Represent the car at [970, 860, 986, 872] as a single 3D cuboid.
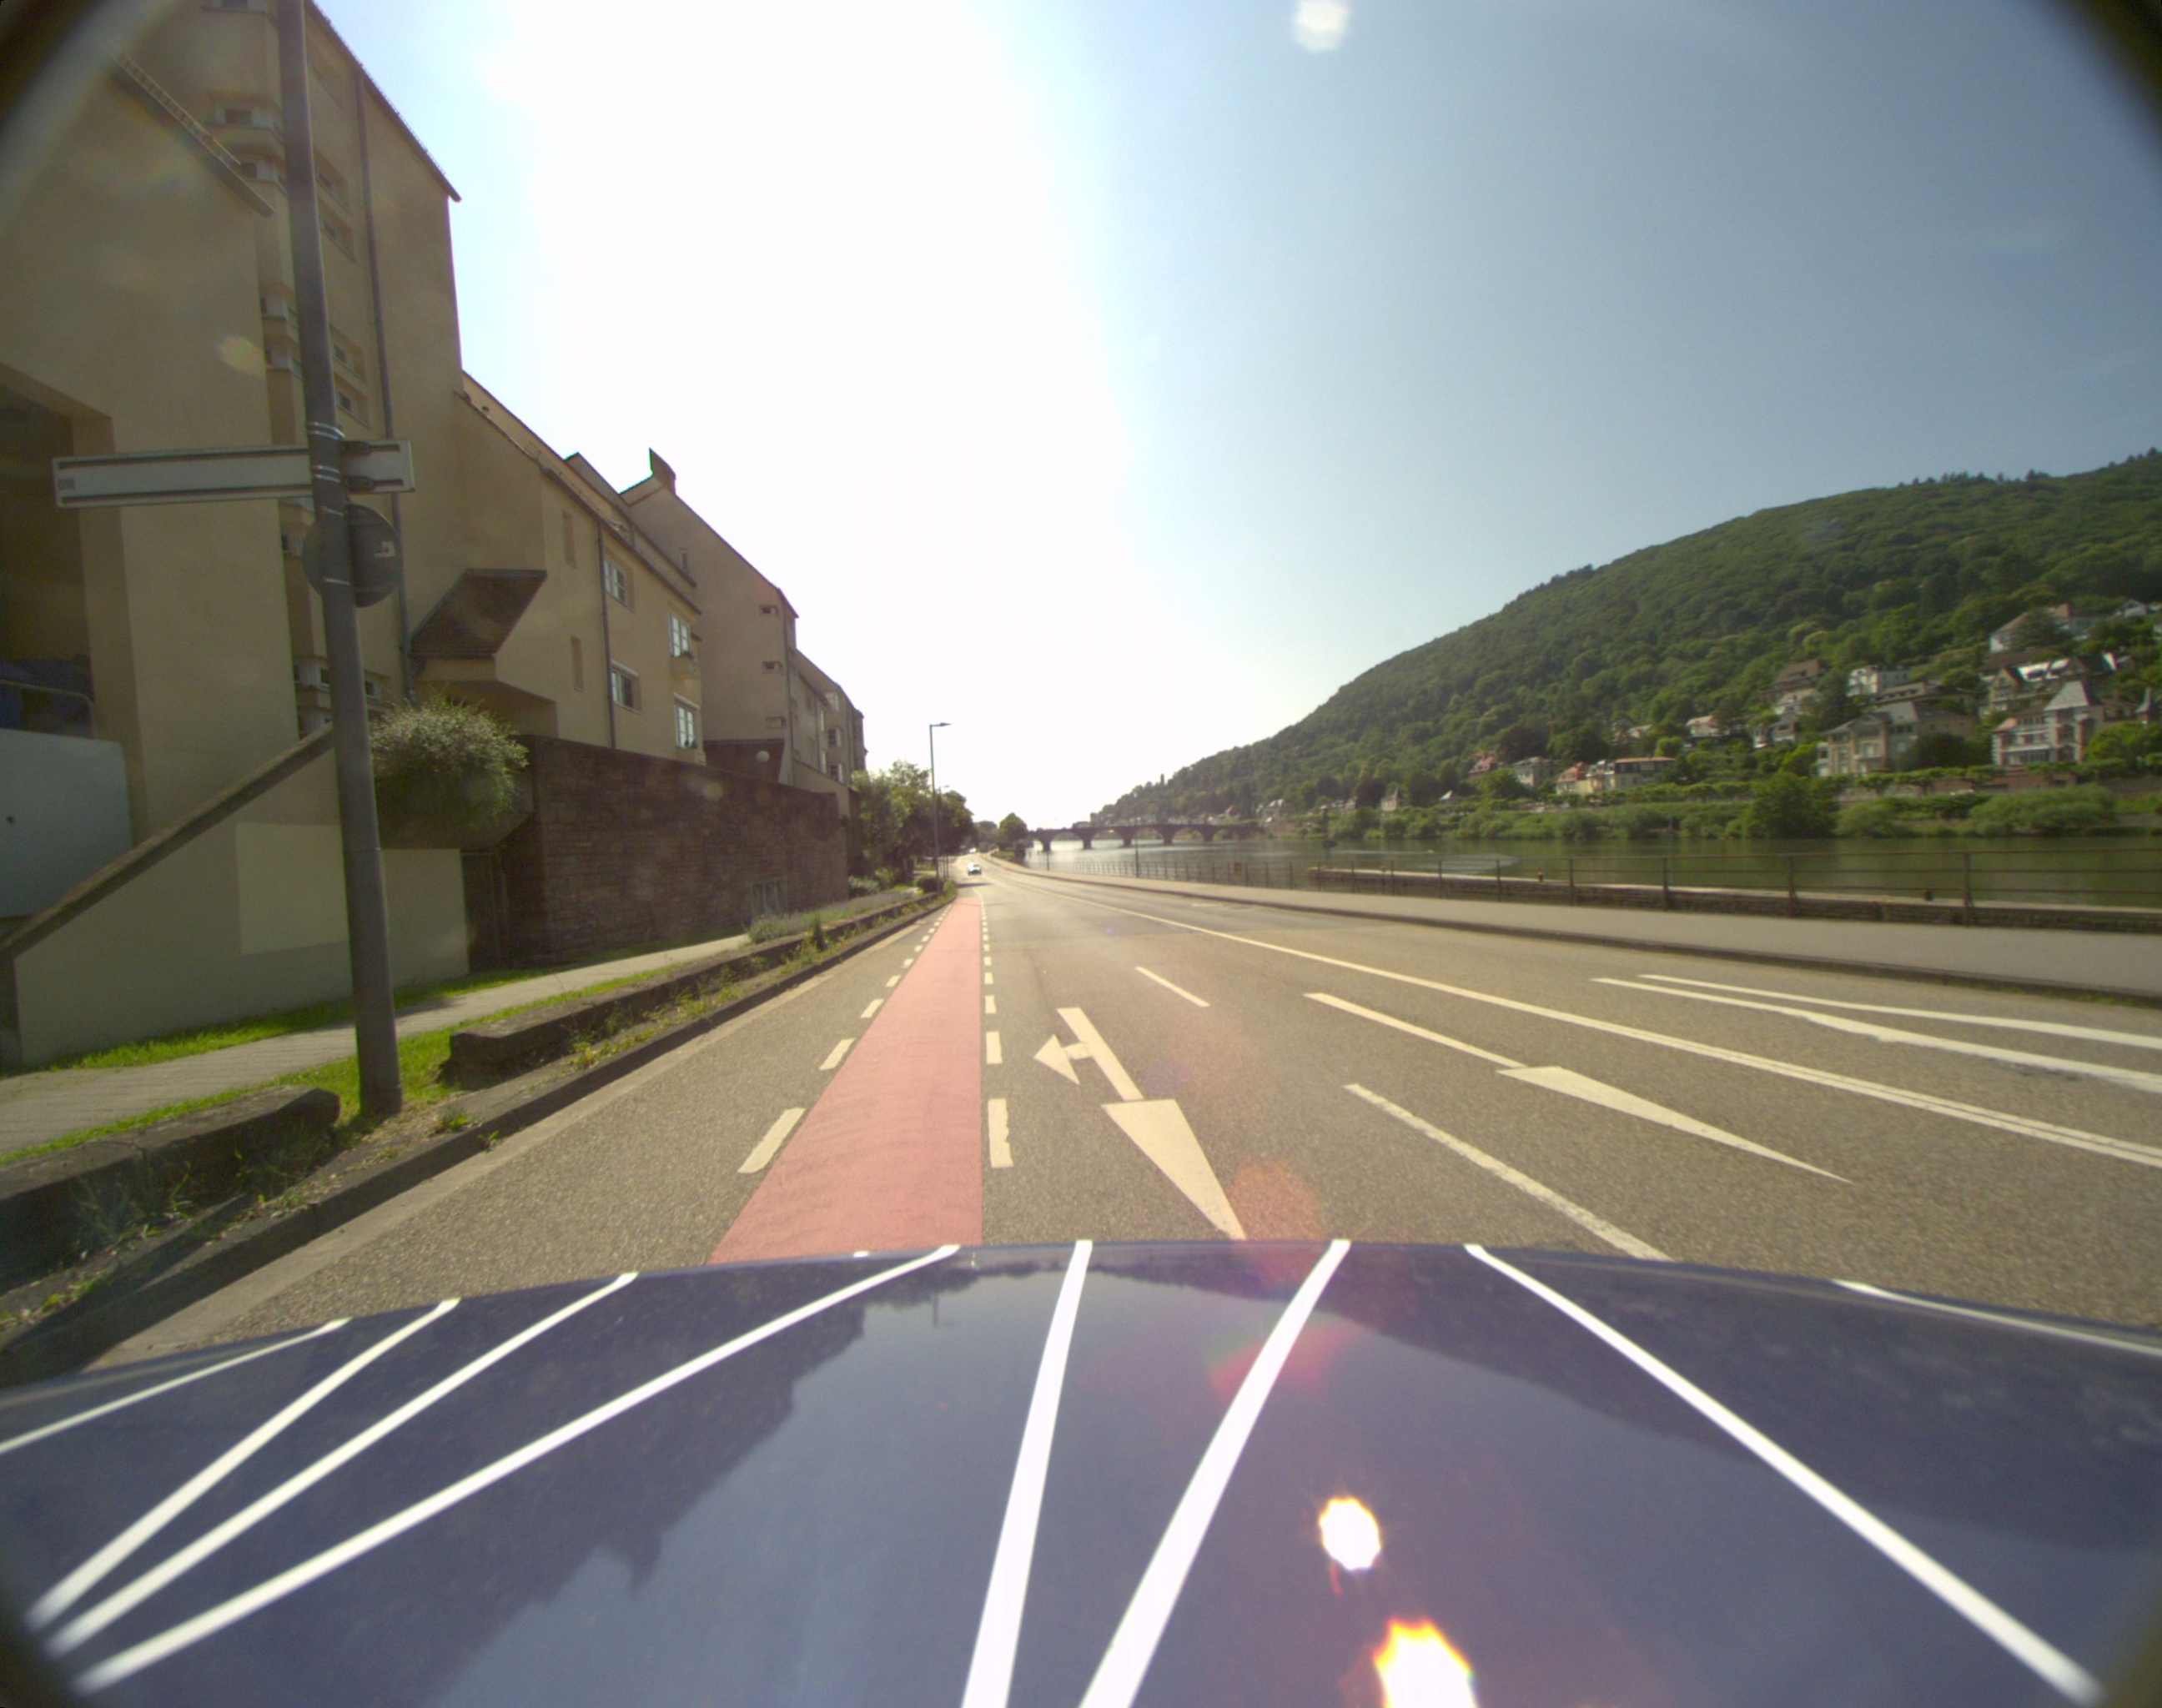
[{"bbox_3d":[-13.482,1.574,99.542,2.000,1.433,3.997,-2,0,-7],"label":"car"}]
